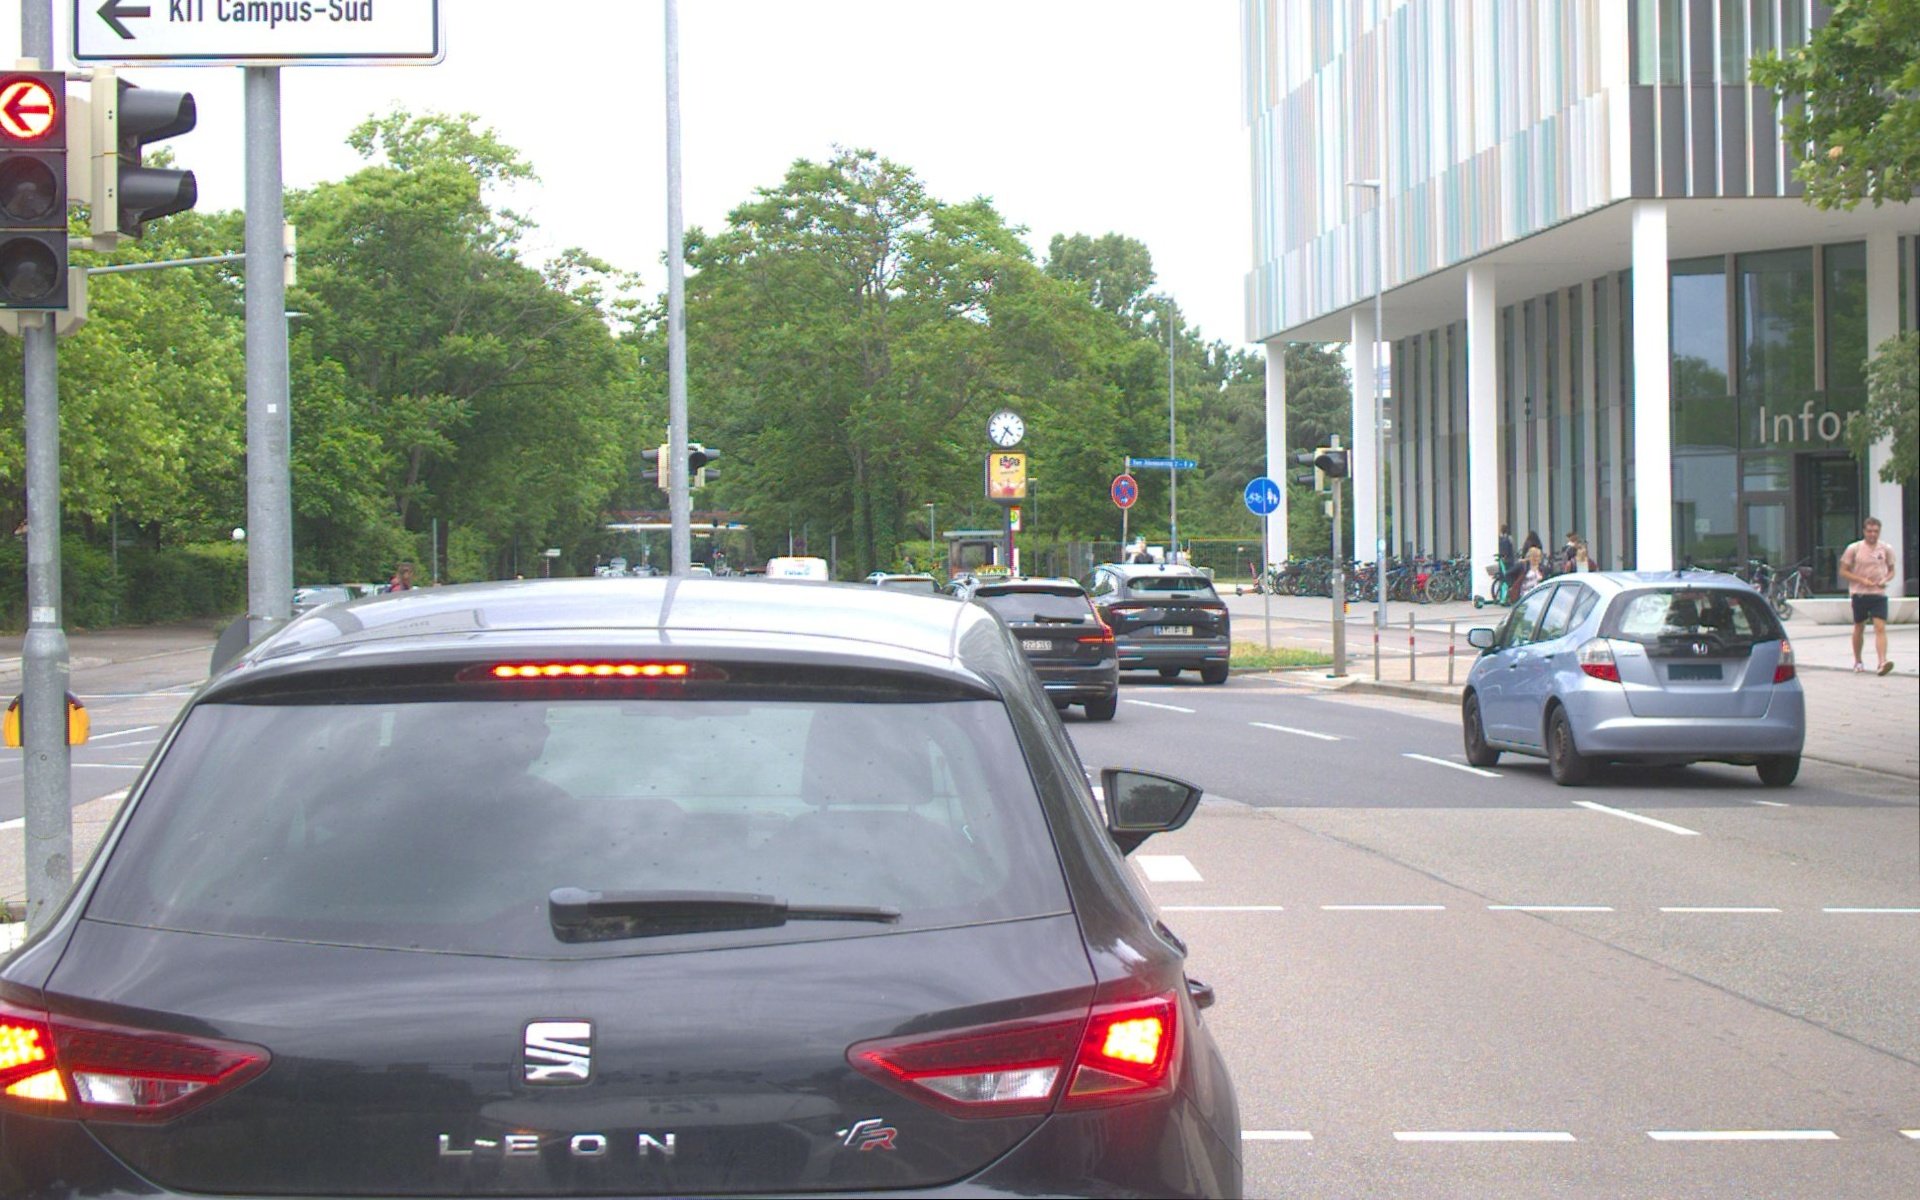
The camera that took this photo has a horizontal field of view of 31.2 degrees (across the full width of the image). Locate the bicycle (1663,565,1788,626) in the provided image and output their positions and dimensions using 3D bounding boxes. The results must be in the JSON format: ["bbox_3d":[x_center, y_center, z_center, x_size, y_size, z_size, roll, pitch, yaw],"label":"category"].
[{"bbox_3d":[12.516,-0.079,56.196,1.886,0.895,0.697,-3,1,-21],"label":"bicycle"}]

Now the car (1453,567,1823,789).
[{"bbox_3d":[4.781,0.501,24.726,1.666,1.461,3.660,0,1,-5],"label":"car"}]

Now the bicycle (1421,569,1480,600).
[{"bbox_3d":[12.010,-0.374,84.194,1.374,0.703,0.416,-2,1,2],"label":"bicycle"}]

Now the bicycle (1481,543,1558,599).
[{"bbox_3d":[12.646,-0.657,77.729,1.772,1.207,0.570,-3,1,-34],"label":"bicycle"}]

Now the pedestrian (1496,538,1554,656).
[{"bbox_3d":[7.924,-0.050,48.202,0.687,1.634,0.633,0,1,-1],"label":"pedestrian"}]

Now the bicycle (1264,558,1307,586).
[{"bbox_3d":[10.128,-0.873,106.860,1.234,0.820,0.482,1,0,-22],"label":"bicycle"}]

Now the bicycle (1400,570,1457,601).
[{"bbox_3d":[11.724,-0.370,85.992,1.375,0.703,0.489,-2,1,8],"label":"bicycle"}]

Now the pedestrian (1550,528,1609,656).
[{"bbox_3d":[8.689,-0.120,48.248,0.687,1.775,0.677,-1,1,-1],"label":"pedestrian"}]

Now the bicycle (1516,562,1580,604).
[{"bbox_3d":[13.007,-0.379,76.025,1.438,0.855,0.365,-3,1,-27],"label":"bicycle"}]

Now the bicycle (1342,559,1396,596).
[{"bbox_3d":[10.926,-0.608,91.838,1.387,0.938,0.487,-1,1,7],"label":"bicycle"}]

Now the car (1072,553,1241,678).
[{"bbox_3d":[2.650,0.173,47.238,1.907,1.619,4.491,1,1,-2],"label":"car"}]

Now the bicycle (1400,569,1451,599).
[{"bbox_3d":[11.763,-0.395,86.884,1.240,0.703,0.489,-2,1,8],"label":"bicycle"}]

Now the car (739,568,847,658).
[{"bbox_3d":[-2.850,0.200,58.897,1.781,1.458,3.871,0,1,-2],"label":"car"}]

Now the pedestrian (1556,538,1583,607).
[{"bbox_3d":[12.180,-0.554,68.716,0.472,1.357,0.445,-2,1,10],"label":"pedestrian"}]

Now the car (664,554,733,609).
[{"bbox_3d":[-7.118,-0.522,93.310,1.722,1.409,4.246,0,1,-6],"label":"car"}]

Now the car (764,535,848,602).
[{"bbox_3d":[-4.682,-0.968,103.756,1.966,1.965,4.345,1,1,-10],"label":"car"}]

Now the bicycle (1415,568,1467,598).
[{"bbox_3d":[12.238,-0.436,87.565,1.273,0.703,0.485,-2,1,7],"label":"bicycle"}]

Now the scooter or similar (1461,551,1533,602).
[{"bbox_3d":[12.232,-0.538,78.308,1.671,1.103,0.499,-3,1,-32],"label":"scooter or similar"}]

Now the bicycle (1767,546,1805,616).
[{"bbox_3d":[15.470,-0.367,64.391,0.526,1.248,1.664,-2,1,18],"label":"bicycle"}]

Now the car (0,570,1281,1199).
[{"bbox_3d":[-0.466,0.689,5.757,1.753,1.427,3.769,1,1,2],"label":"car"}]

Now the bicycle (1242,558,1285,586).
[{"bbox_3d":[9.625,-0.888,108.973,1.258,0.845,0.482,2,0,-22],"label":"bicycle"}]

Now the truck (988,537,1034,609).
[{"bbox_3d":[1.627,-0.894,110.776,1.317,2.235,3.402,-2,1,-1],"label":"truck"}]

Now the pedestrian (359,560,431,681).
[{"bbox_3d":[-7.636,0.269,46.470,0.874,1.581,0.543,-2,1,-7],"label":"pedestrian"}]

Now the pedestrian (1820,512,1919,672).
[{"bbox_3d":[10.274,-0.096,38.863,0.847,1.759,0.768,-2,1,-1],"label":"pedestrian"}]

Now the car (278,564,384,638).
[{"bbox_3d":[-15.746,0.004,86.295,1.906,1.711,4.000,-2,1,-1],"label":"car"}]

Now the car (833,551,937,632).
[{"bbox_3d":[-1.459,-0.148,68.546,1.825,1.545,4.527,1,0,2],"label":"car"}]

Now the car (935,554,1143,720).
[{"bbox_3d":[0.758,0.330,35.754,1.883,1.594,4.447,1,1,-2],"label":"car"}]

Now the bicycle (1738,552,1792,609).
[{"bbox_3d":[15.736,-0.378,67.184,0.620,1.042,1.703,-2,1,26],"label":"bicycle"}]

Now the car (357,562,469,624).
[{"bbox_3d":[-15.465,-0.202,97.393,1.759,1.582,3.998,-2,1,12],"label":"car"}]
